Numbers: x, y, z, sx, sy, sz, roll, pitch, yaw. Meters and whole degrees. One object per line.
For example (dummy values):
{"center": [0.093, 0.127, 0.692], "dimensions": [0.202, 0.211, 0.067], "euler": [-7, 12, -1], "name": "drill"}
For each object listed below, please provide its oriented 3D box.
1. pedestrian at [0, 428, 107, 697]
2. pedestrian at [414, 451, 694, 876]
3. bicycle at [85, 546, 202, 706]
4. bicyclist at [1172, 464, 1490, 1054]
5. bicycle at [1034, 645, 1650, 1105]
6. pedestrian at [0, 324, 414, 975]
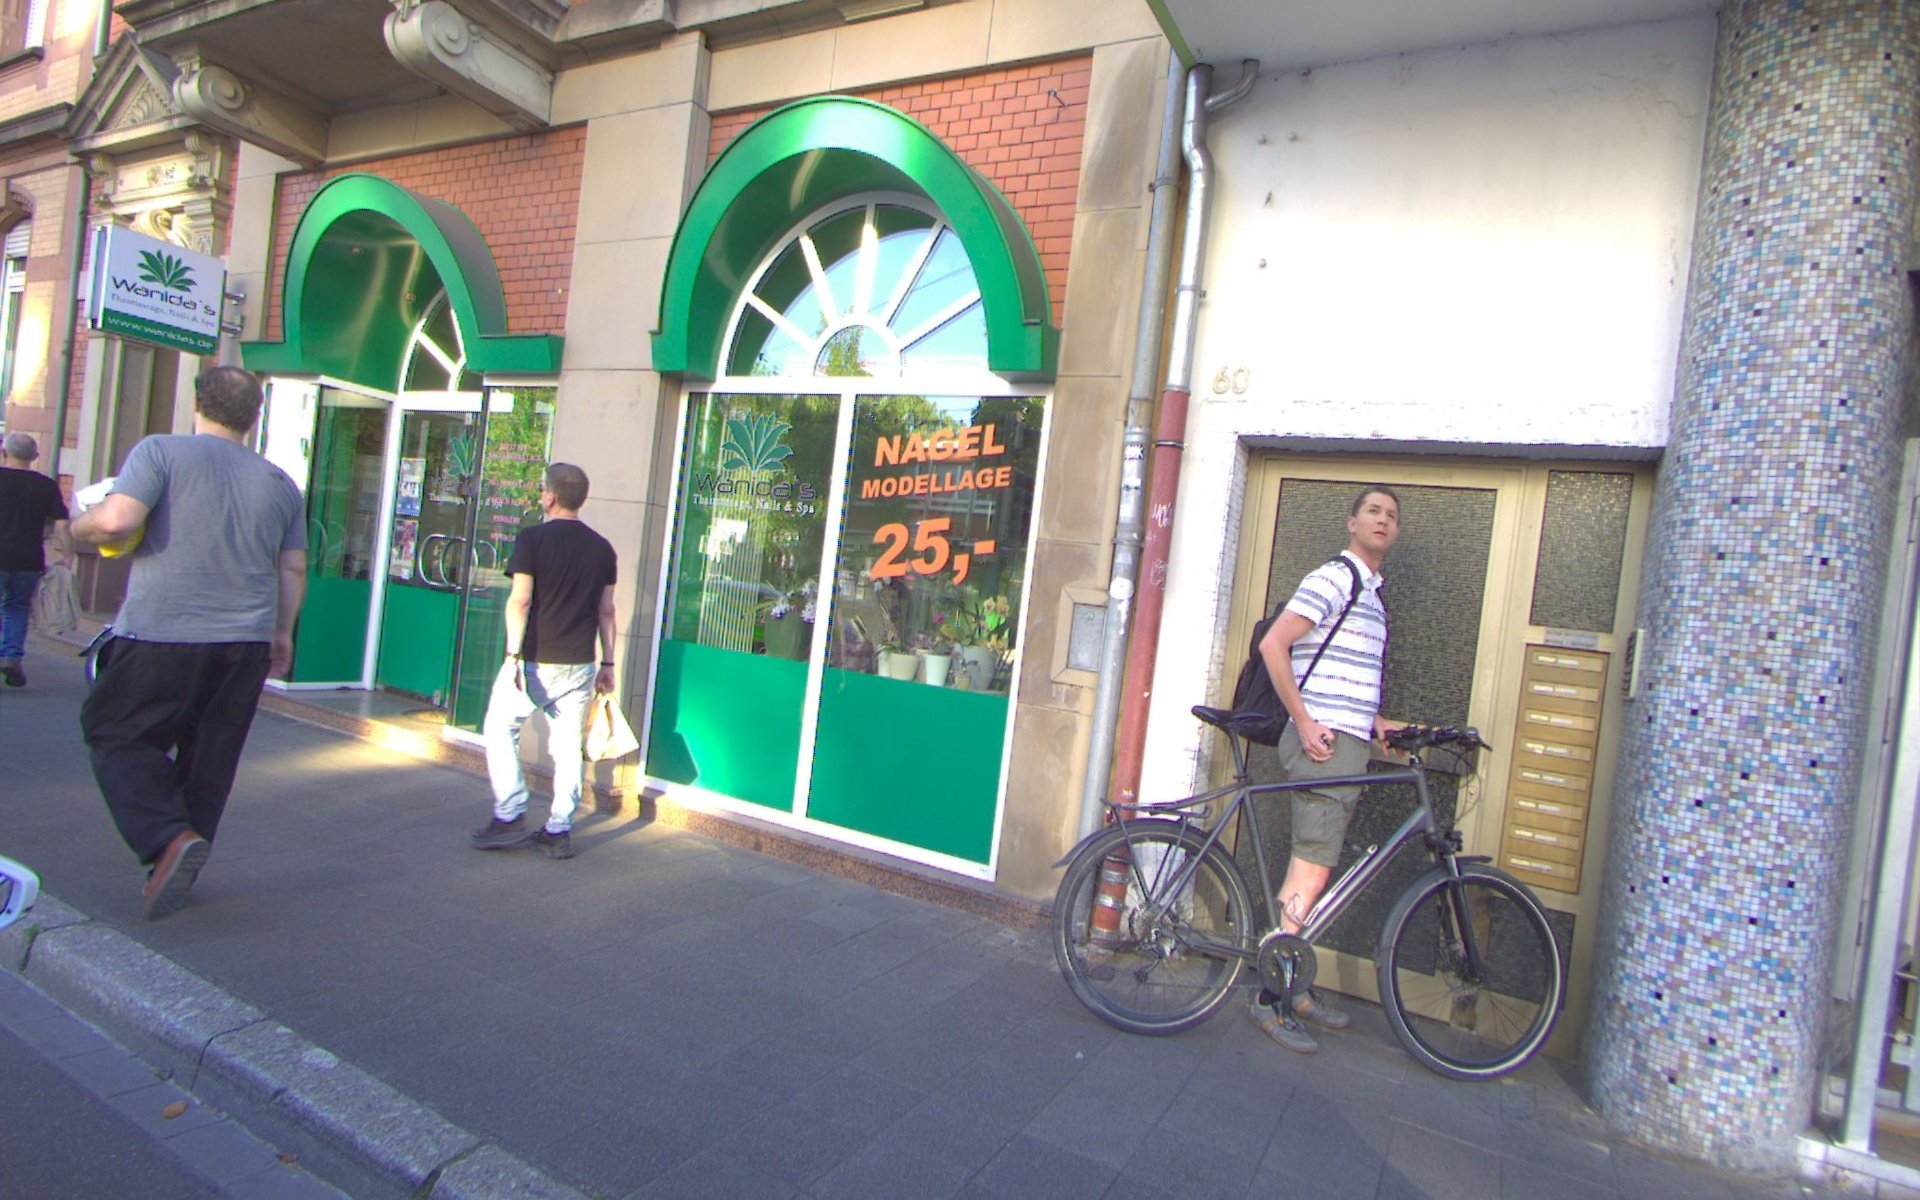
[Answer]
{"center": [-6.489, -0.267, 6.818], "dimensions": [0.741, 1.745, 0.776], "euler": [7, 2, 29], "name": "pedestrian"}
{"center": [-1.869, 0.260, 4.677], "dimensions": [0.741, 1.745, 0.776], "euler": [7, 2, 29], "name": "pedestrian"}
{"center": [-5.952, 0.169, 7.313], "dimensions": [1.222, 1.009, 0.344], "euler": [7, 2, 38], "name": "bicycle"}
{"center": [1.306, 0.540, 3.681], "dimensions": [0.730, 1.905, 0.600], "euler": [7, 1, 3], "name": "bicyclist"}
{"center": [1.279, 0.923, 3.680], "dimensions": [1.859, 1.269, 0.668], "euler": [7, 1, 3], "name": "bicycle"}
{"center": [-2.588, 0.135, 3.486], "dimensions": [0.741, 1.919, 0.822], "euler": [7, 2, 29], "name": "pedestrian"}
